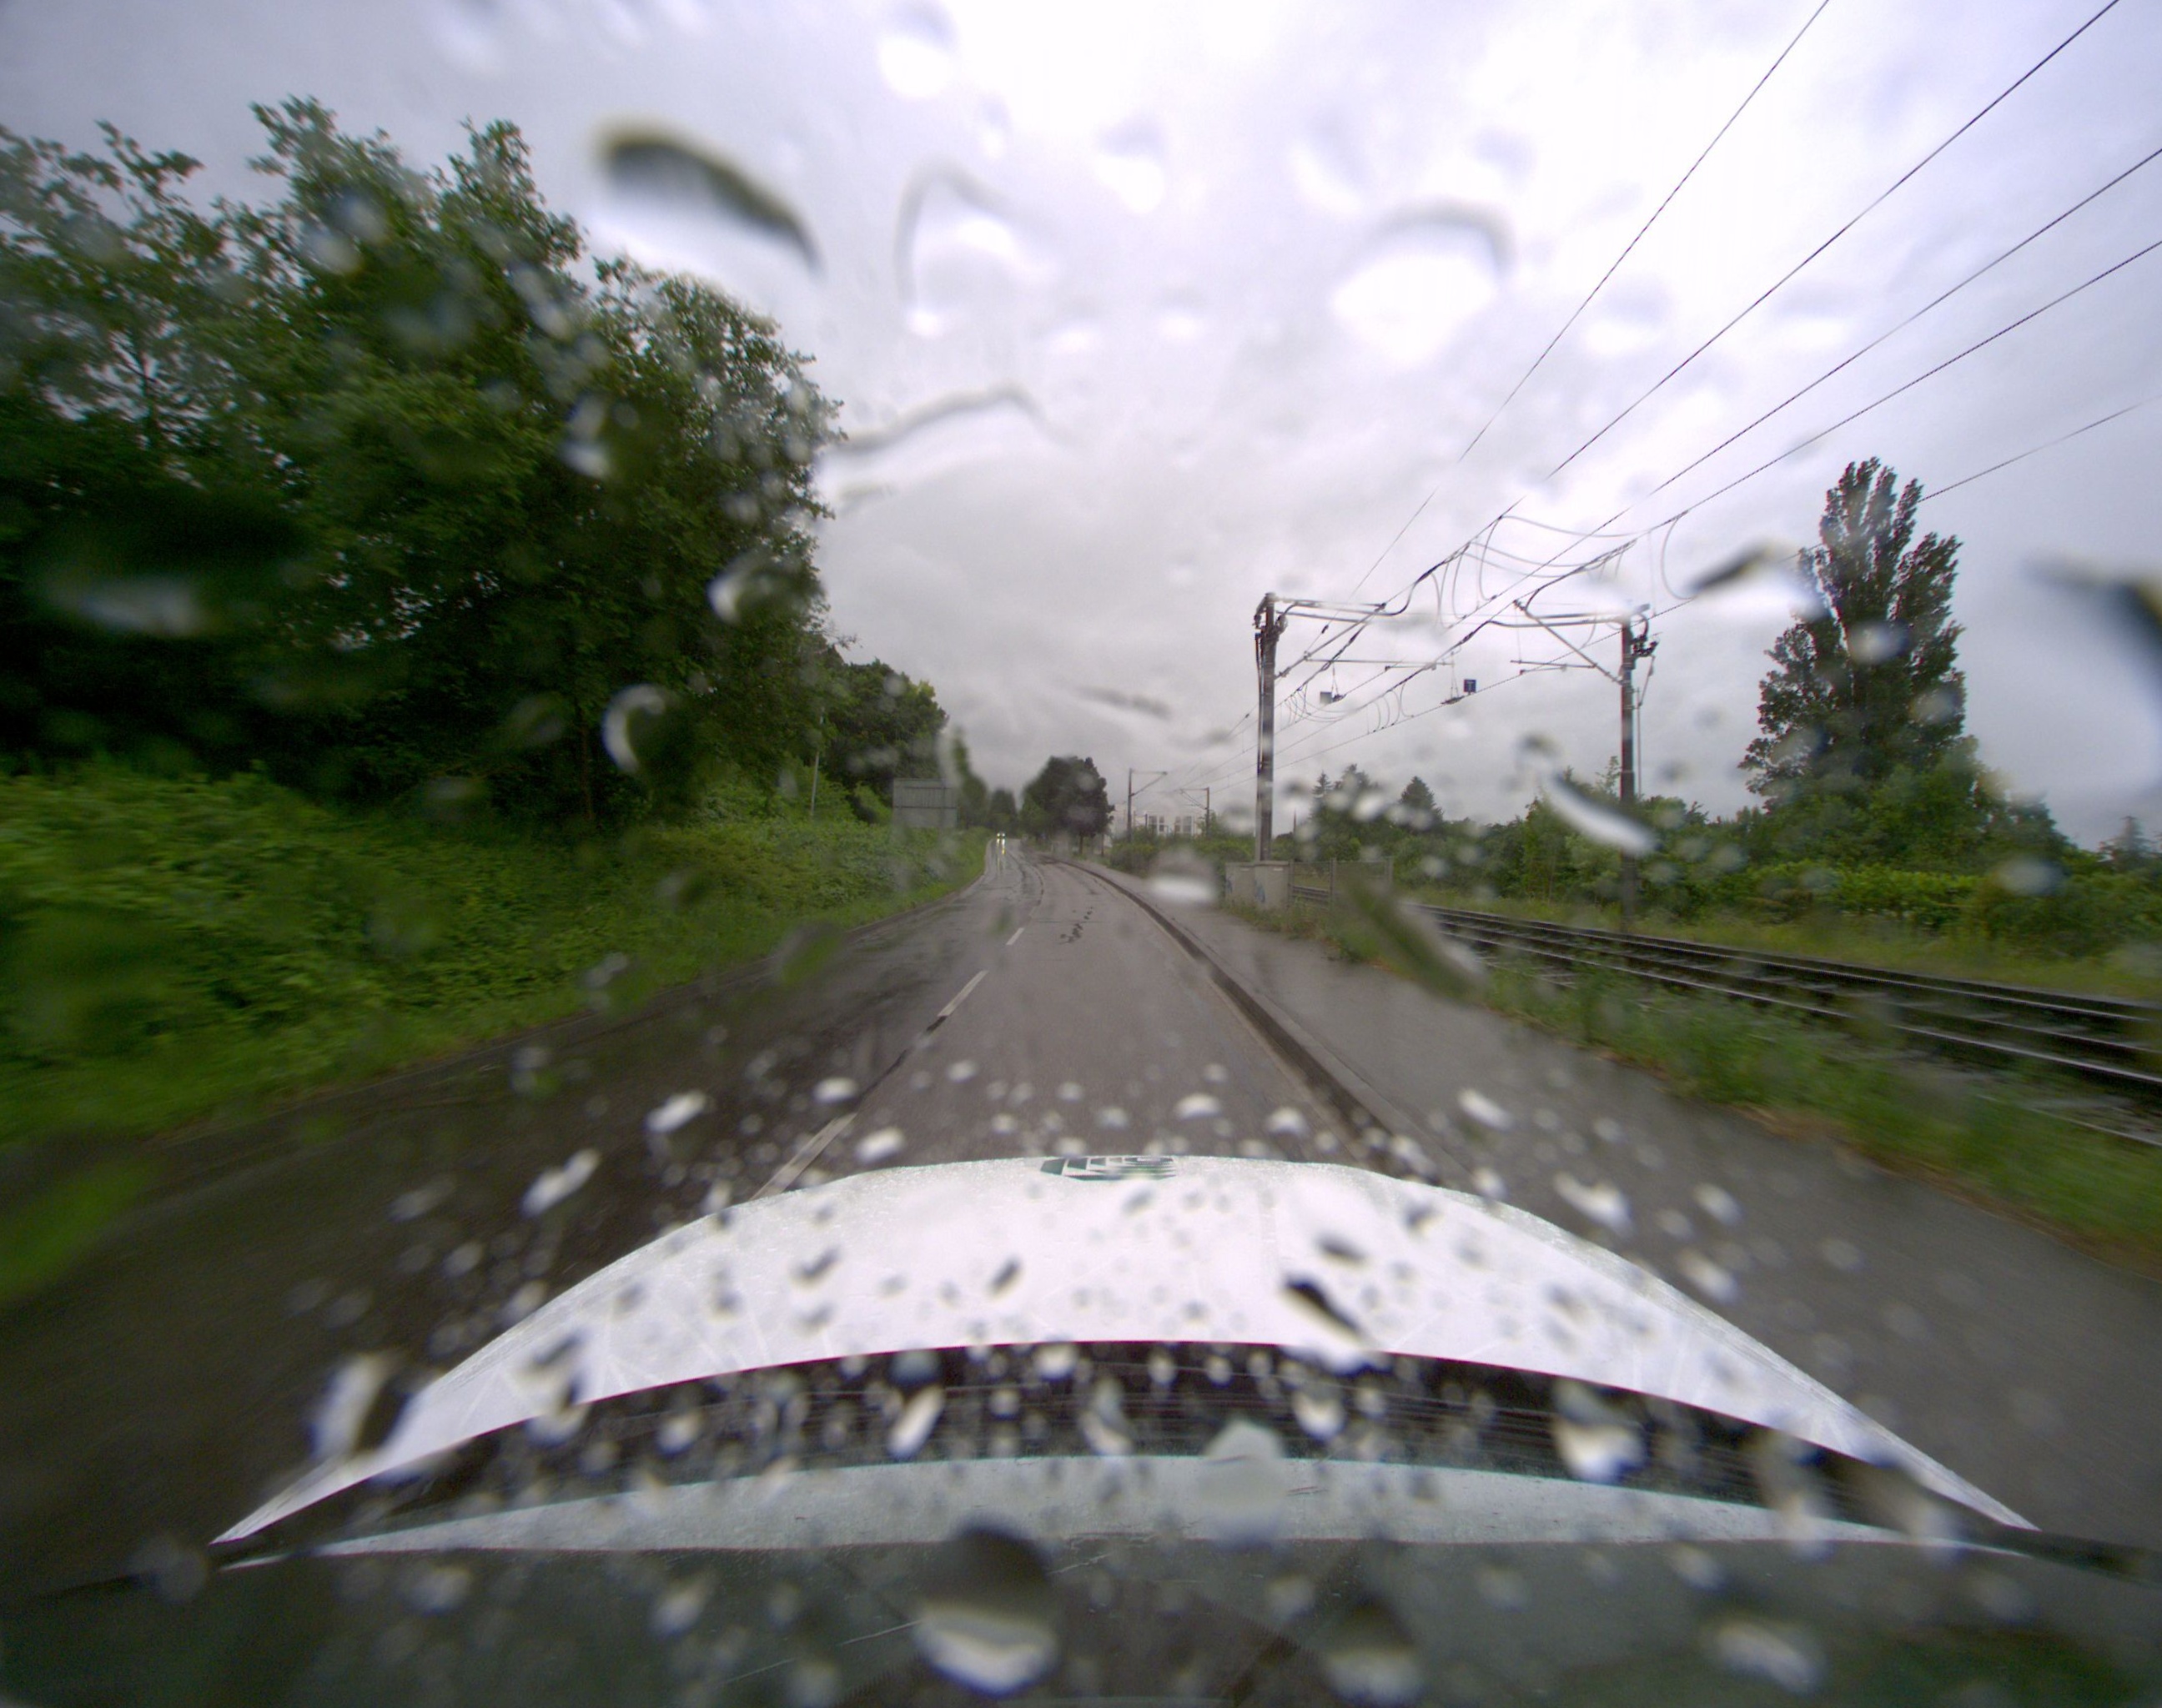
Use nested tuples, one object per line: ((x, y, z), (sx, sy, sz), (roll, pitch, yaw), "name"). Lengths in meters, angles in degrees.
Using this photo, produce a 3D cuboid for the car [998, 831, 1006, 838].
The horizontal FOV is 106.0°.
((-19.456, -4.710, 200.282), (1.741, 1.611, 4.083), (2, 2, -4), "car")
